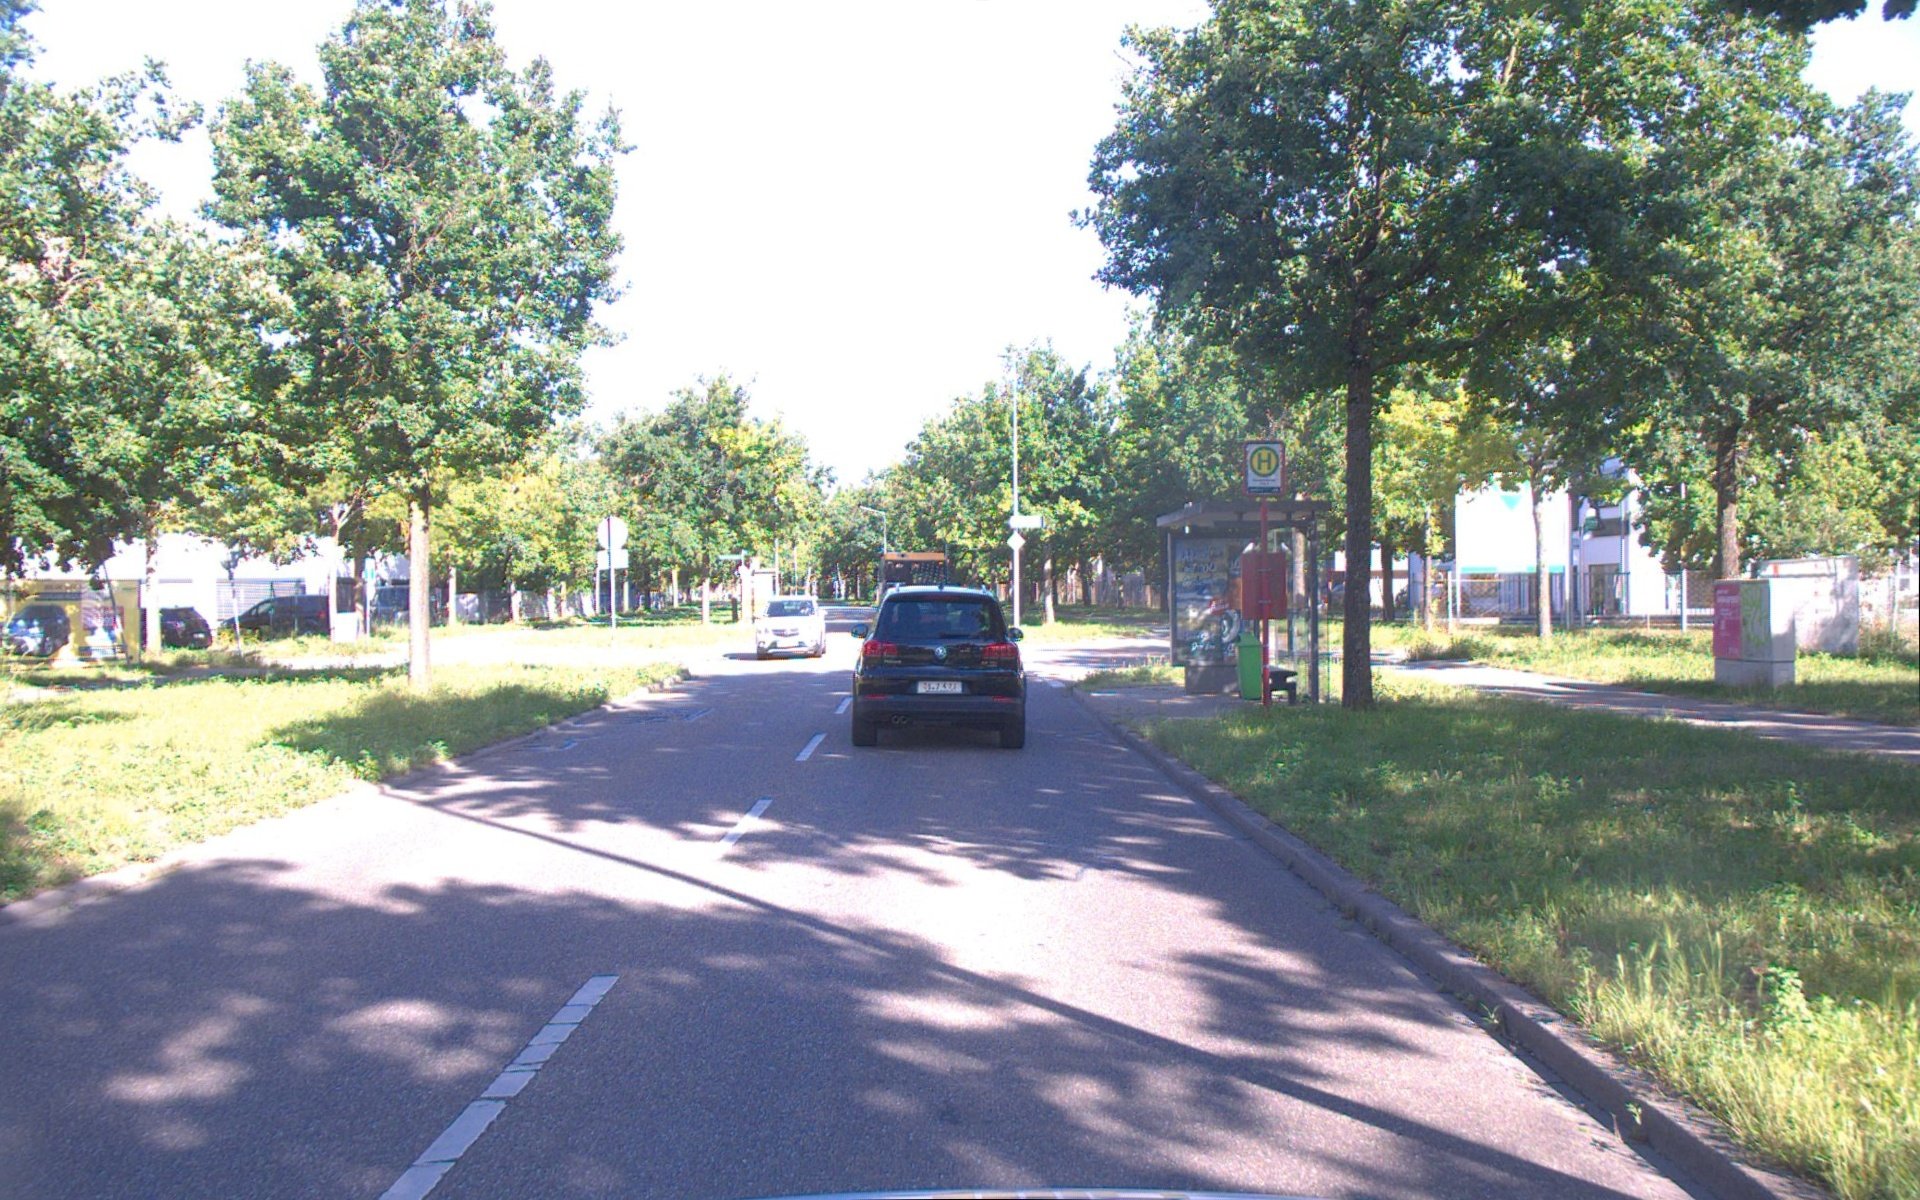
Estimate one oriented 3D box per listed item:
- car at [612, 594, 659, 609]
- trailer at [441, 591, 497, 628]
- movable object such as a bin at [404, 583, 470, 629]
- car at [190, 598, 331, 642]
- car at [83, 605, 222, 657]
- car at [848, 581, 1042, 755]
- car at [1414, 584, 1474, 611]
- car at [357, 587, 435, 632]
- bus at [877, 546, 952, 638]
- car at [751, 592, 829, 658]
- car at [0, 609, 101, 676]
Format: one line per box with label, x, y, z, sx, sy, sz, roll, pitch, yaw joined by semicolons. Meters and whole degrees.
car;-31.101;0.114;158.574;4.112;1.344;1.941;-1;0;1
trailer;-27.141;0.524;91.493;2.060;1.948;3.739;-1;0;-2
movable object such as a bin;-26.629;0.274;84.379;2.060;2.255;4.458;-1;0;-2
car;-25.964;0.738;61.520;4.417;1.505;1.937;-1;0;-9
car;-25.452;0.967;52.188;3.591;1.559;1.824;-1;0;13
car;-0.166;0.649;18.478;1.896;1.685;4.426;1;1;-1
car;25.754;-0.153;88.127;1.731;1.408;3.763;-1;0;-6
car;-26.537;0.428;78.049;1.995;2.023;5.802;-1;0;-4
bus;-2.047;-0.358;69.919;2.709;3.517;11.203;-1;0;-4
car;-4.202;0.580;41.464;1.709;1.490;4.424;-2;1;-3
car;-24.318;1.075;42.400;3.662;1.646;1.965;-1;0;12
